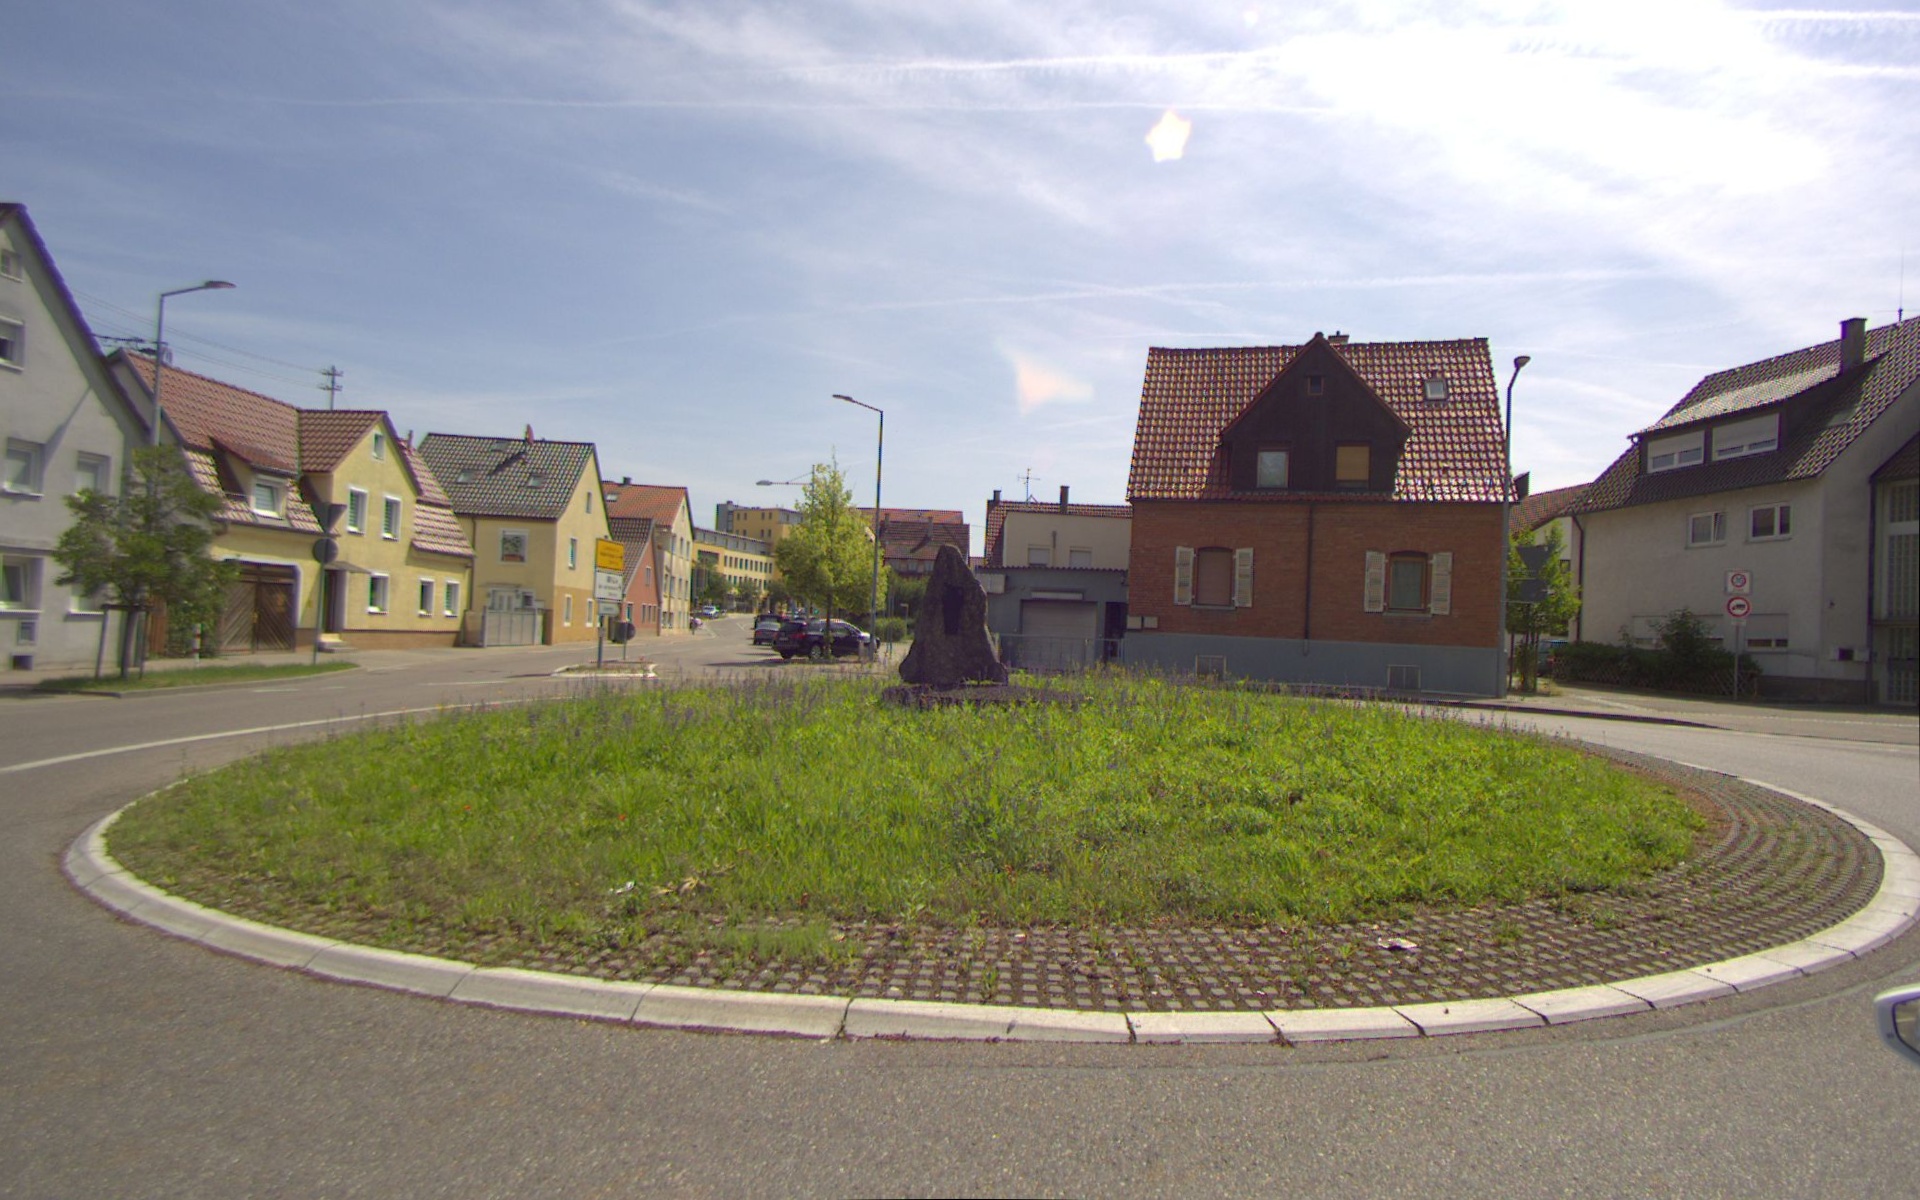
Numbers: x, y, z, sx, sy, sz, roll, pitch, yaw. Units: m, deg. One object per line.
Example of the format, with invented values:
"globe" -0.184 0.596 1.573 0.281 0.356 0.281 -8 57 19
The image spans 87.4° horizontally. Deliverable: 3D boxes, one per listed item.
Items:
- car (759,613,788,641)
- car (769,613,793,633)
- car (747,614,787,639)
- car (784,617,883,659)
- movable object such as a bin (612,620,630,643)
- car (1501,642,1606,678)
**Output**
"car" -14.550 2.083 78.464 2.080 2.040 3.993 3 -1 -10
"car" -18.923 2.423 106.160 2.078 2.040 3.997 3 -1 -6
"car" -11.803 1.589 61.362 1.848 1.409 4.199 3 -1 -18
"car" -5.505 1.677 43.952 3.972 1.639 1.794 4 -2 -43
"movable object such as a bin" -16.209 1.487 48.055 0.687 1.066 0.674 2 -1 -11
"car" 23.427 2.373 39.693 3.344 1.268 1.492 2 -1 -5
